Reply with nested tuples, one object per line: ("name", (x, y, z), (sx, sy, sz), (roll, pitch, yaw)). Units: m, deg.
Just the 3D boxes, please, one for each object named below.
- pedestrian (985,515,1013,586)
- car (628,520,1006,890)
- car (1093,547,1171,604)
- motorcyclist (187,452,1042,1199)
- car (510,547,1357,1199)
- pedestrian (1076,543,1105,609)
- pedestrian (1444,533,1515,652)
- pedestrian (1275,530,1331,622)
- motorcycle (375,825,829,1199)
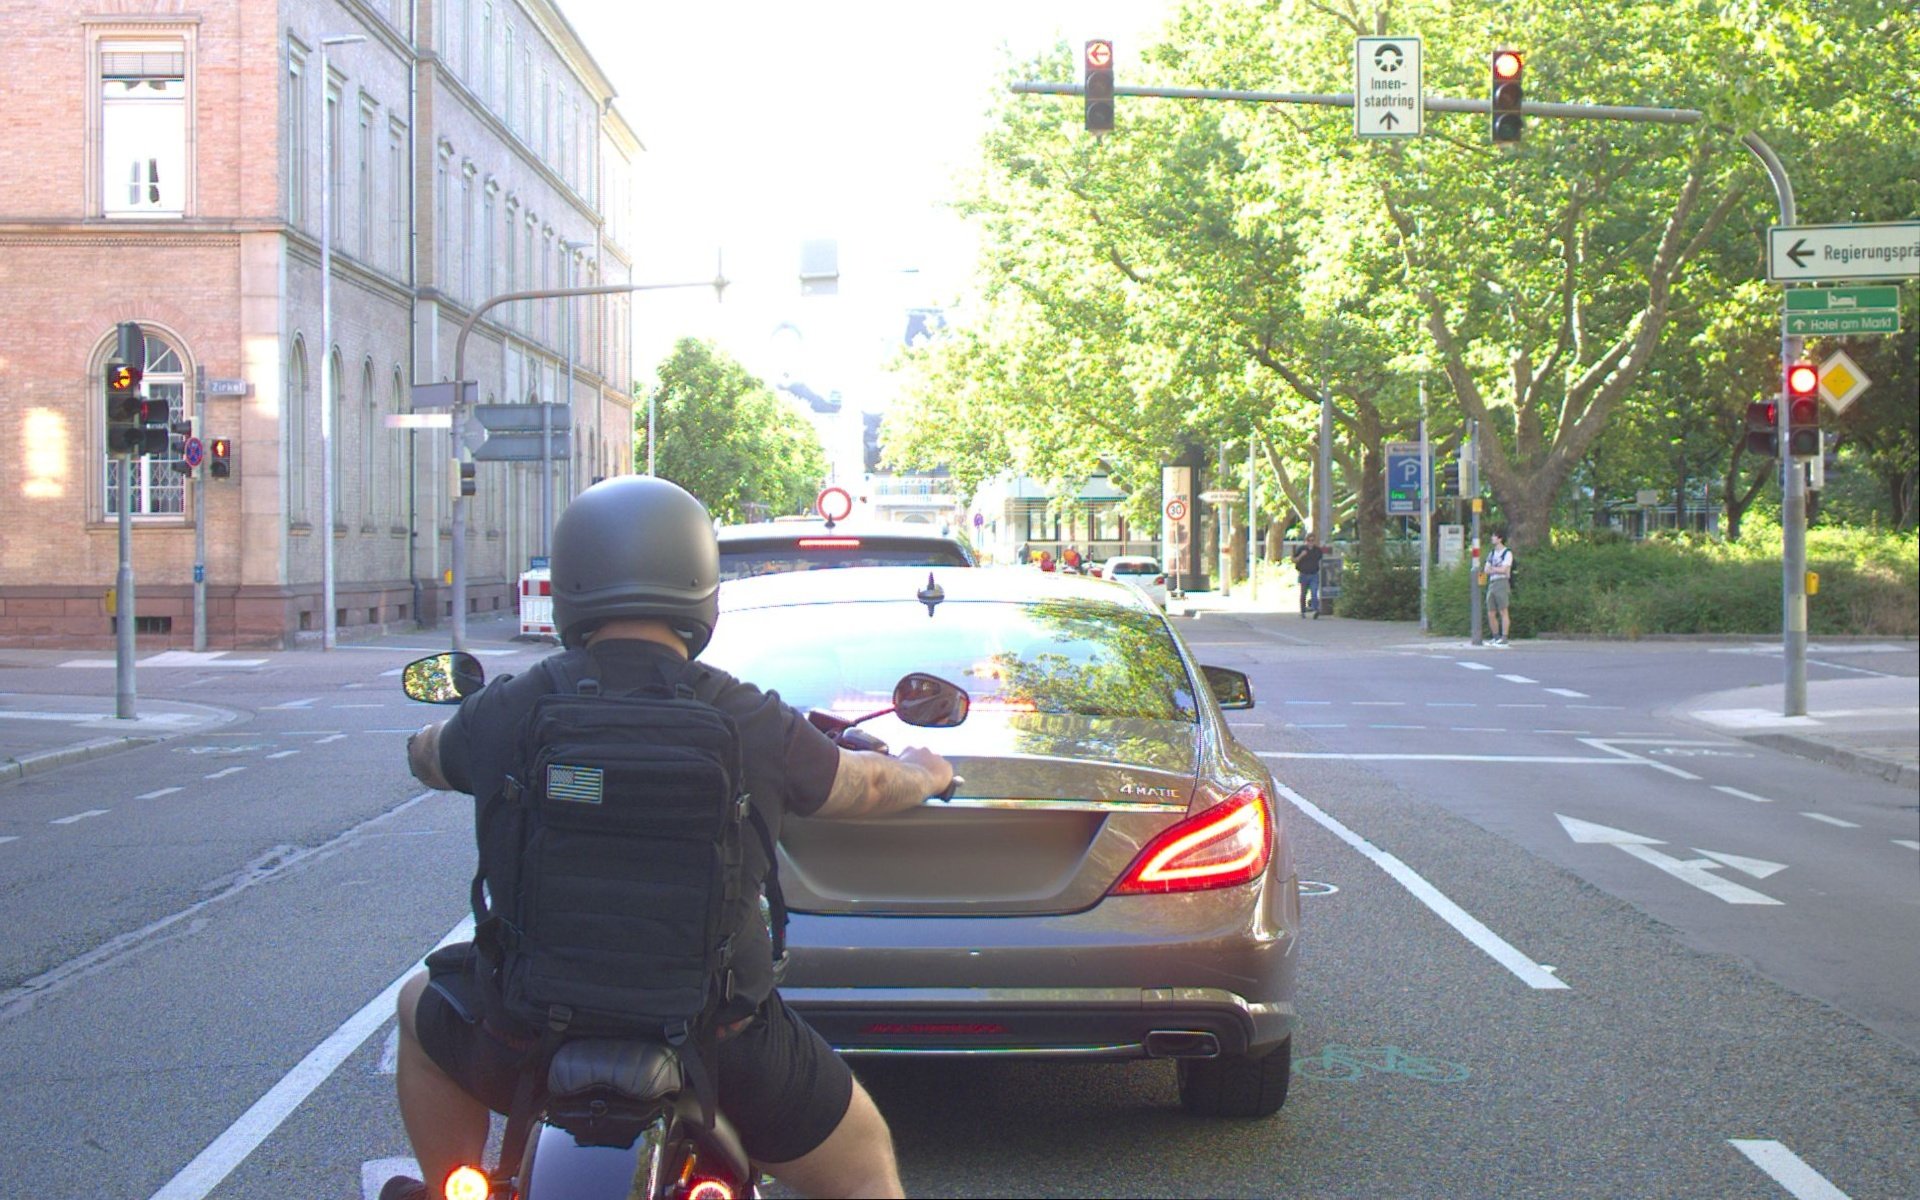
("pedestrian", (1.135, -1.451, 100.816), (0.764, 2.044, 0.712), (1, 0, -1))
("car", (-0.636, 0.412, 16.744), (1.621, 1.588, 4.000), (0, 1, -1))
("car", (4.384, -0.641, 88.191), (1.776, 1.423, 3.802), (0, 1, -1))
("motorcyclist", (-0.482, 0.597, 5.324), (1.149, 1.593, 1.288), (1, 0, -1))
("car", (-0.082, 0.597, 9.628), (1.882, 1.444, 3.820), (1, 1, -1))
("pedestrian", (4.073, -0.750, 107.098), (0.814, 2.007, 1.271), (1, 0, -1))
("pedestrian", (8.065, -0.119, 53.407), (1.002, 1.820, 1.076), (1, 0, 6))
("pedestrian", (7.157, -0.510, 71.726), (0.749, 1.903, 0.926), (1, 0, -28))
("motorcycle", (-0.494, 0.928, 5.340), (0.513, 0.999, 2.013), (1, 1, -1))
